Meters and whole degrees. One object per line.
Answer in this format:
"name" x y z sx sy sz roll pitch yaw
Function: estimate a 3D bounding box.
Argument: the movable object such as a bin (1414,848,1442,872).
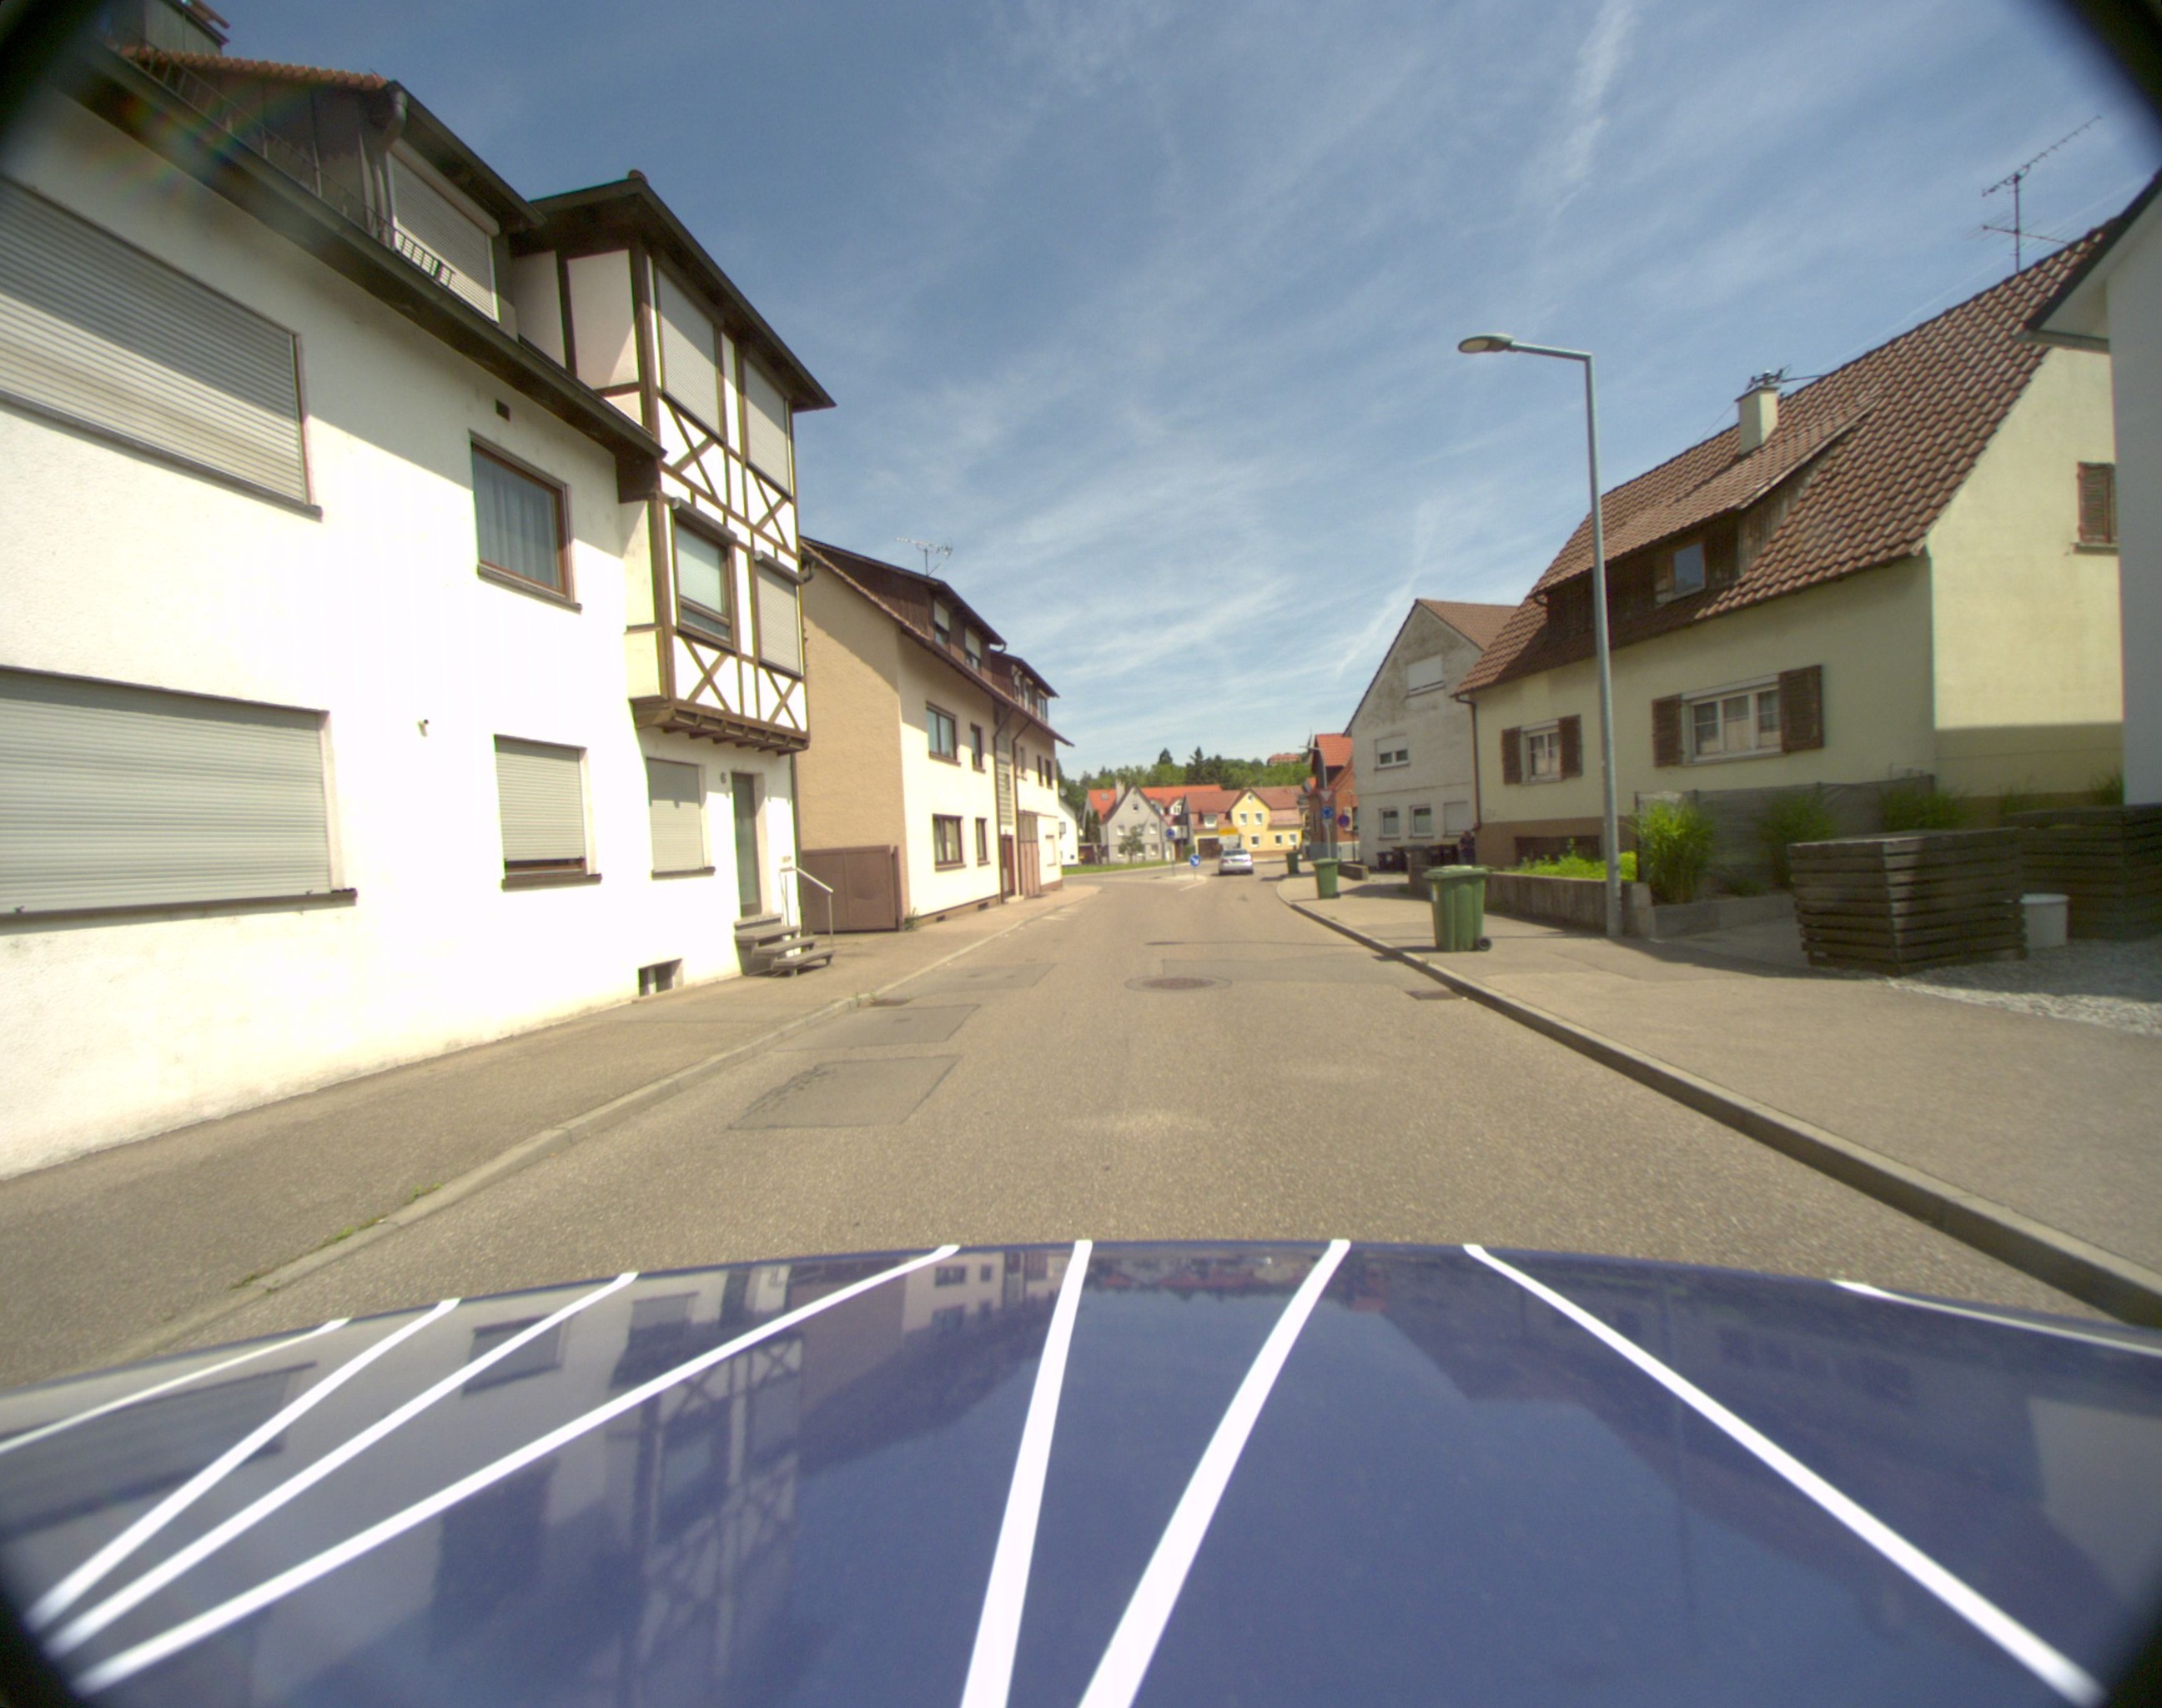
"movable object such as a bin" 13.677 0.256 29.952 0.685 0.891 0.697 -4 0 -19

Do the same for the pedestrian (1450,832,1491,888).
"pedestrian" 11.291 0.174 22.038 0.779 1.565 0.627 -4 0 -1

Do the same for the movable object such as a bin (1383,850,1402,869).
"movable object such as a bin" 13.087 0.241 31.934 0.487 0.776 0.526 -4 0 -19

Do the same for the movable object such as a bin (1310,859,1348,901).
"movable object such as a bin" 6.610 0.689 20.264 0.793 1.051 0.651 -3 0 4

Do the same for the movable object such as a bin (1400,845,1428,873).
"movable object such as a bin" 13.433 0.201 30.636 0.685 1.080 0.697 -4 0 -19

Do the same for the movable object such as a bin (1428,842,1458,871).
"movable object such as a bin" 13.912 0.092 29.230 0.685 1.076 0.697 -4 0 -19

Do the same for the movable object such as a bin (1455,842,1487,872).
"movable object such as a bin" 14.346 0.114 27.973 0.741 1.076 0.659 -4 0 -19

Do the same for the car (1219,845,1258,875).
"car" 8.858 0.308 42.670 1.958 1.477 4.462 -3 0 12

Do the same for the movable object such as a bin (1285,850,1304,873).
"movable object such as a bin" 10.280 0.339 36.564 0.809 1.039 0.828 -4 0 18

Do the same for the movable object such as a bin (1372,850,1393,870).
"movable object such as a bin" 12.913 0.249 32.518 0.487 0.801 0.646 -4 0 -17

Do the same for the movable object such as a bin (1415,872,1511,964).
"movable object such as a bin" 4.861 0.798 9.725 0.827 1.071 0.818 -4 0 8

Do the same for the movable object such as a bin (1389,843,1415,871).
"movable object such as a bin" 13.204 0.121 31.278 0.685 1.080 0.644 -4 0 -19

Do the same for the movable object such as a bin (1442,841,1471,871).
"movable object such as a bin" 14.132 0.094 28.577 0.685 1.076 0.624 -4 0 -19
